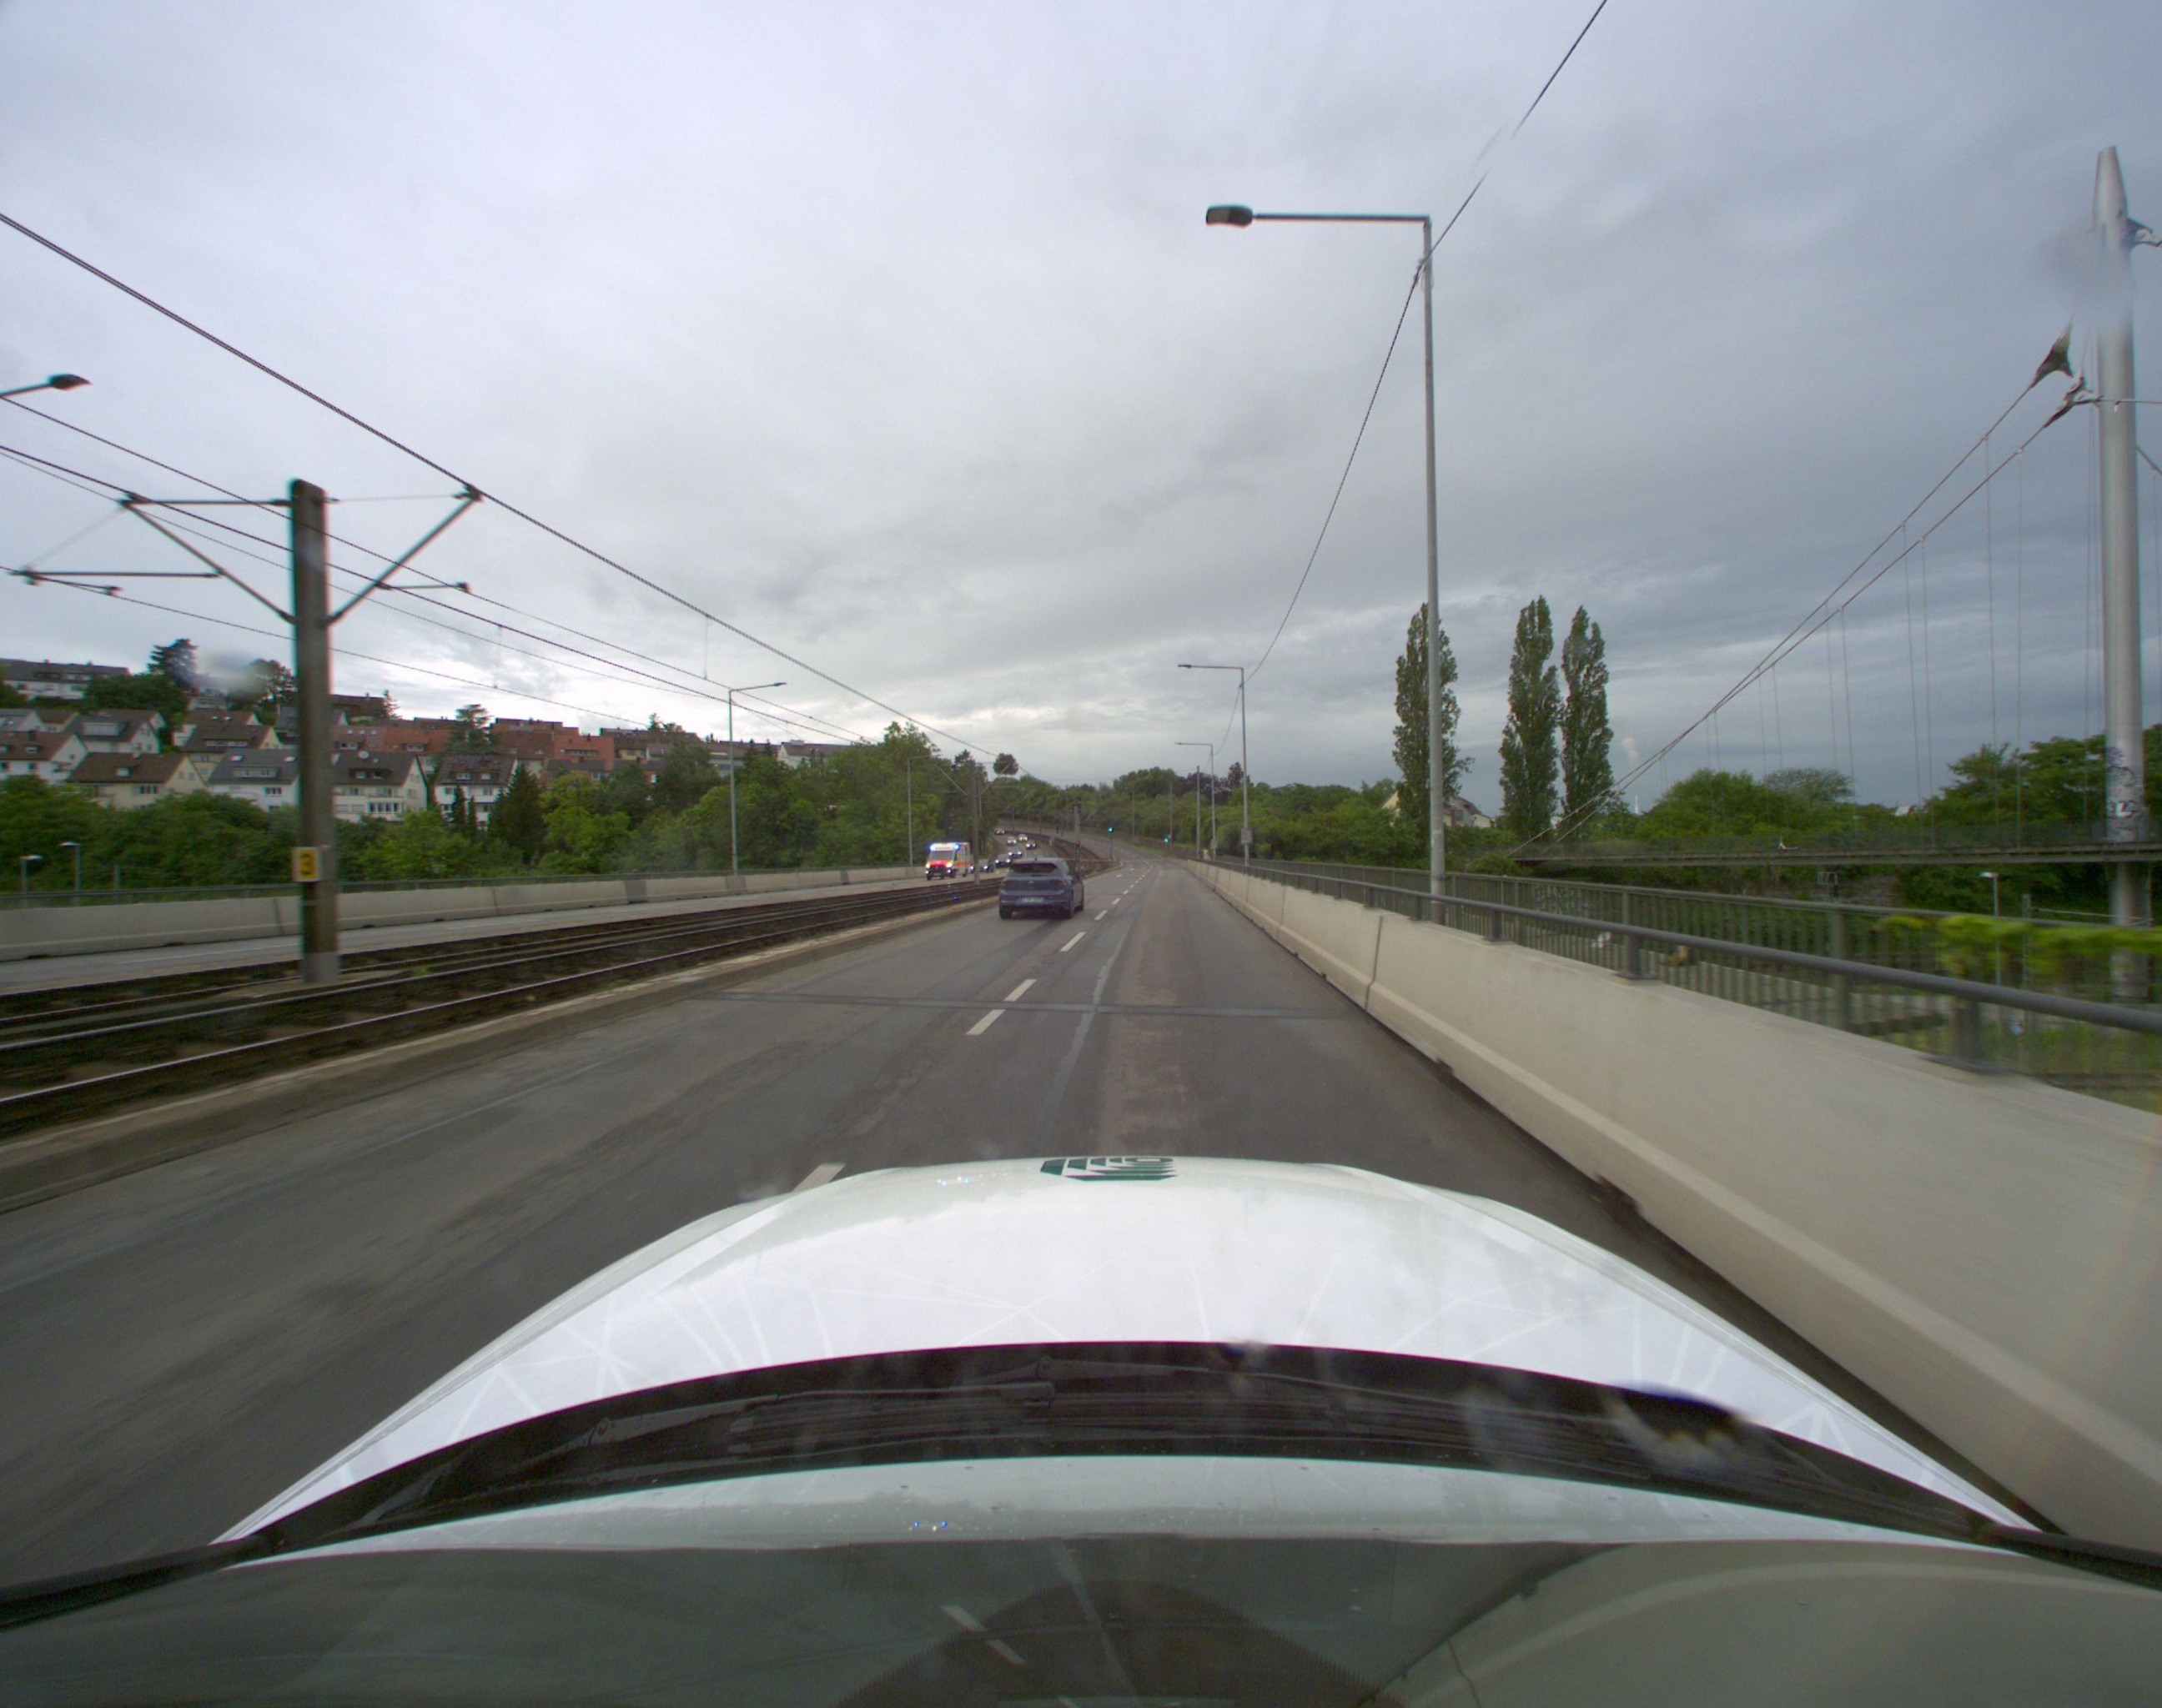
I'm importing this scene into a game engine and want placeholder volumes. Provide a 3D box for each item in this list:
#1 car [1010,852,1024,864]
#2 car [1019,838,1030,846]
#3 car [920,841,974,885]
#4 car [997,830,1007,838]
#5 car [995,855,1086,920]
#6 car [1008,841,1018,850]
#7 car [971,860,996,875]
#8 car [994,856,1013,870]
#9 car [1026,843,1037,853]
[{"bbox_3d":[-9.797,0.629,124.447,1.967,1.597,5.172,-2,-1,-6],"label":"car"},{"bbox_3d":[-11.623,-2.401,167.867,1.731,1.437,4.474,-2,-1,-11],"label":"car"},{"bbox_3d":[-9.855,0.655,60.516,2.377,3.115,6.367,-1,0,6],"label":"car"},{"bbox_3d":[-19.473,-4.930,200.859,1.849,1.596,4.716,-4,7,-12],"label":"car"},{"bbox_3d":[-0.926,0.791,20.854,1.755,1.501,4.006,0,0,5],"label":"car"},{"bbox_3d":[-13.182,-1.619,158.035,1.818,1.515,4.520,-2,0,-5],"label":"car"},{"bbox_3d":[-10.180,1.412,85.271,1.809,1.436,4.744,-1,0,2],"label":"car"},{"bbox_3d":[-9.840,1.122,103.771,1.890,1.597,4.733,-3,0,1],"label":"car"},{"bbox_3d":[-8.662,-1.061,142.970,1.600,1.493,3.009,-3,1,-8],"label":"car"}]
